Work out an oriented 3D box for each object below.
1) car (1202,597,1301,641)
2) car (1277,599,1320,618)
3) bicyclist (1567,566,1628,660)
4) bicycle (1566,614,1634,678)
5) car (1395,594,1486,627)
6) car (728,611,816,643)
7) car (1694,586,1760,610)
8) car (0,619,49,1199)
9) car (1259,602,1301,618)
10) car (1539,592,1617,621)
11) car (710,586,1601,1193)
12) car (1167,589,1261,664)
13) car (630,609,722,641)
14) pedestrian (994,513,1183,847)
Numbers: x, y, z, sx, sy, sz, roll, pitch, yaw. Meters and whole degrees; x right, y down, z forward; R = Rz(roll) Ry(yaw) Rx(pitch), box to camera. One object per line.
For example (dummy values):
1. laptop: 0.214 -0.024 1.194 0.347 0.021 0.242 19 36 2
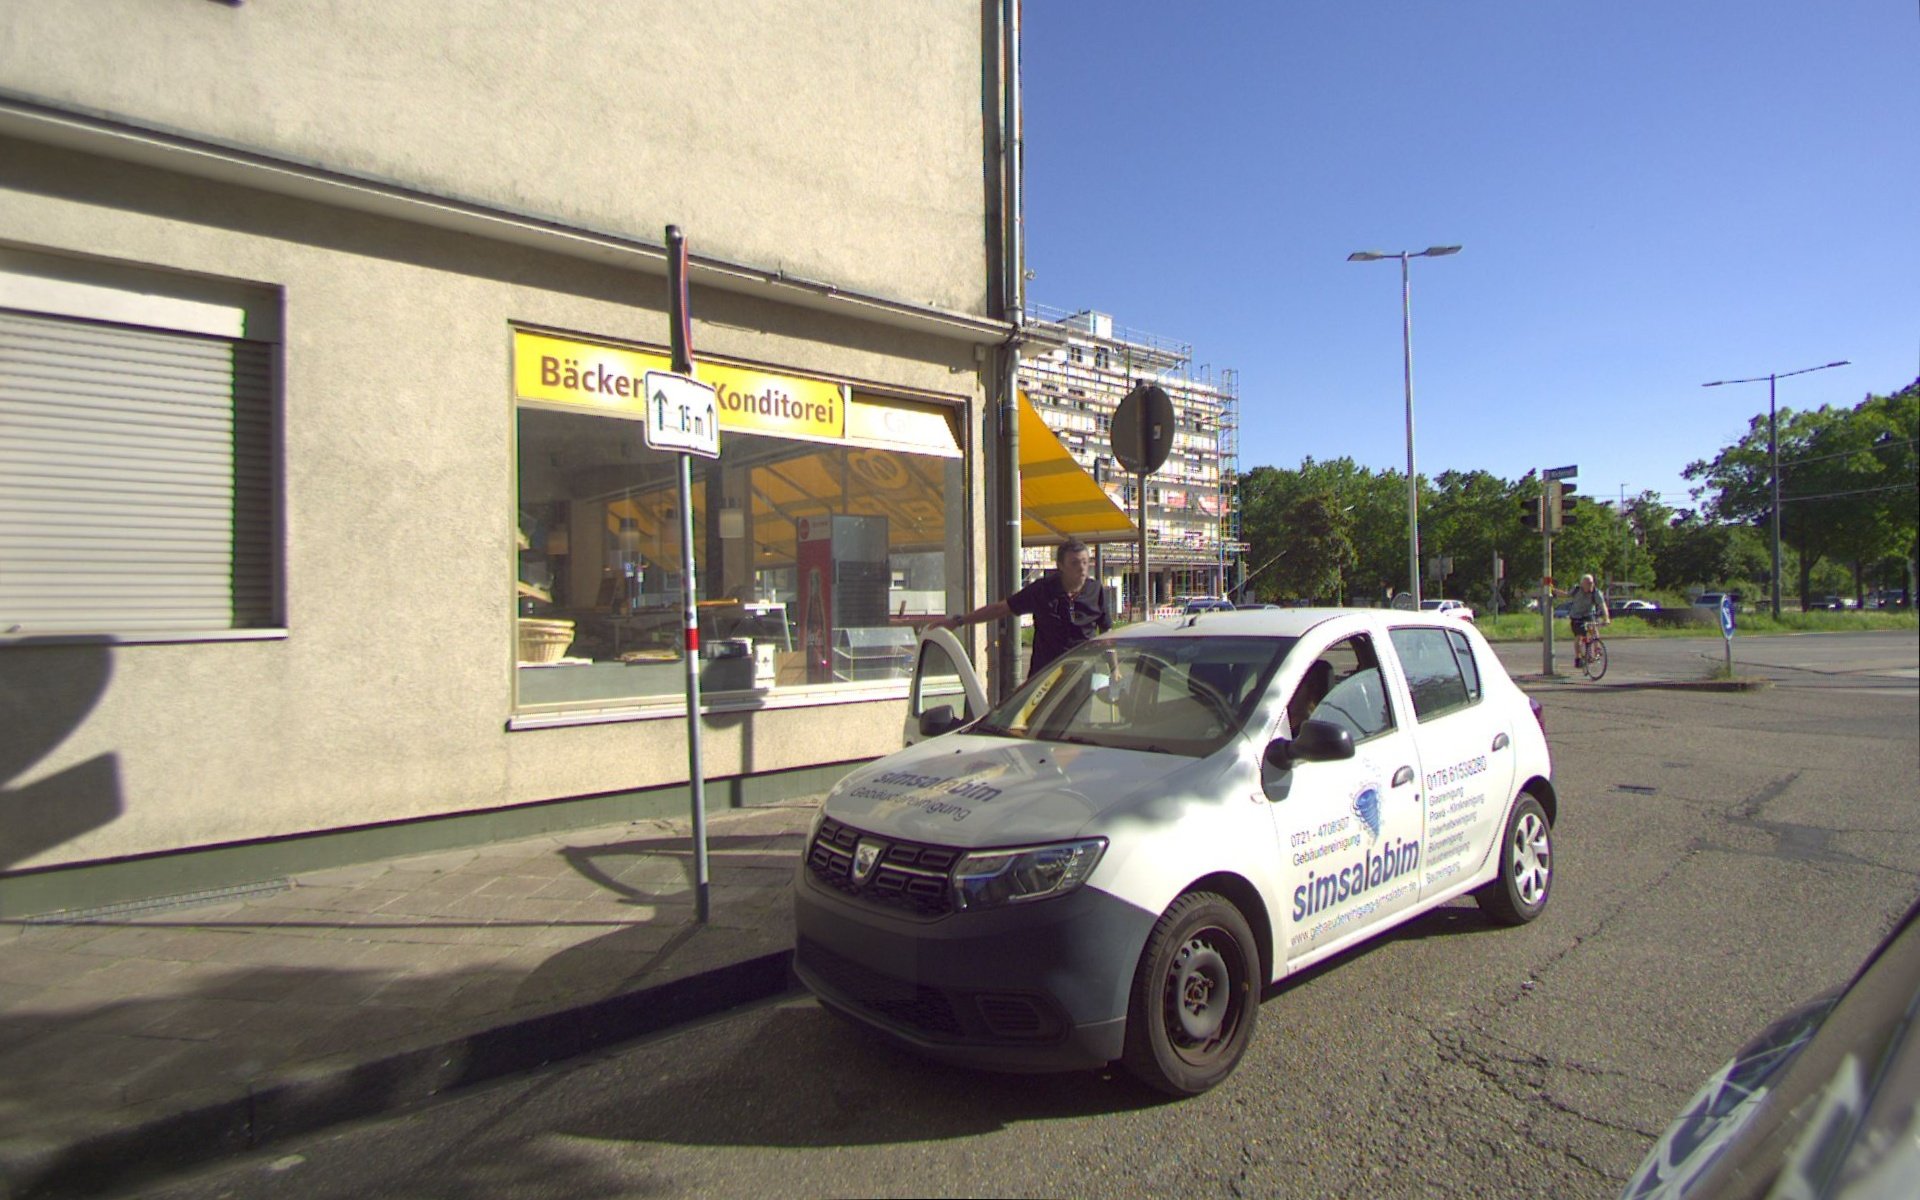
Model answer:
1. car: 10.759 0.661 37.189 1.865 1.474 4.420 -1 -1 40
2. car: 29.852 0.783 89.190 3.617 1.604 1.821 -1 0 -37
3. bicyclist: 10.975 0.224 17.443 0.820 1.584 0.590 -1 -1 29
4. bicycle: 10.949 0.753 17.363 0.822 0.999 1.927 -1 0 28
5. car: 23.101 0.500 48.654 4.397 1.474 1.875 -1 -1 -32
6. car: -8.913 1.258 48.123 3.922 1.434 1.689 -1 -1 -3
7. car: 48.950 -0.135 64.589 4.397 1.474 1.875 -1 -1 -32
8. car: -3.223 0.799 0.812 3.607 1.482 1.600 -1 -1 -39
9. car: 28.862 0.911 91.253 3.617 1.412 1.821 -1 0 -37
10. car: 34.176 0.352 55.959 4.397 1.474 1.875 -1 -1 -32
11. car: 1.111 0.718 4.468 3.950 1.516 1.722 -1 -1 -39
12. car: 6.814 0.656 26.817 1.851 1.798 4.452 -1 0 21
13. car: -13.330 1.158 47.623 3.922 1.434 1.689 -1 -1 -3
14. pedestrian: 0.726 0.416 5.802 0.731 1.744 0.761 0 -1 -34
